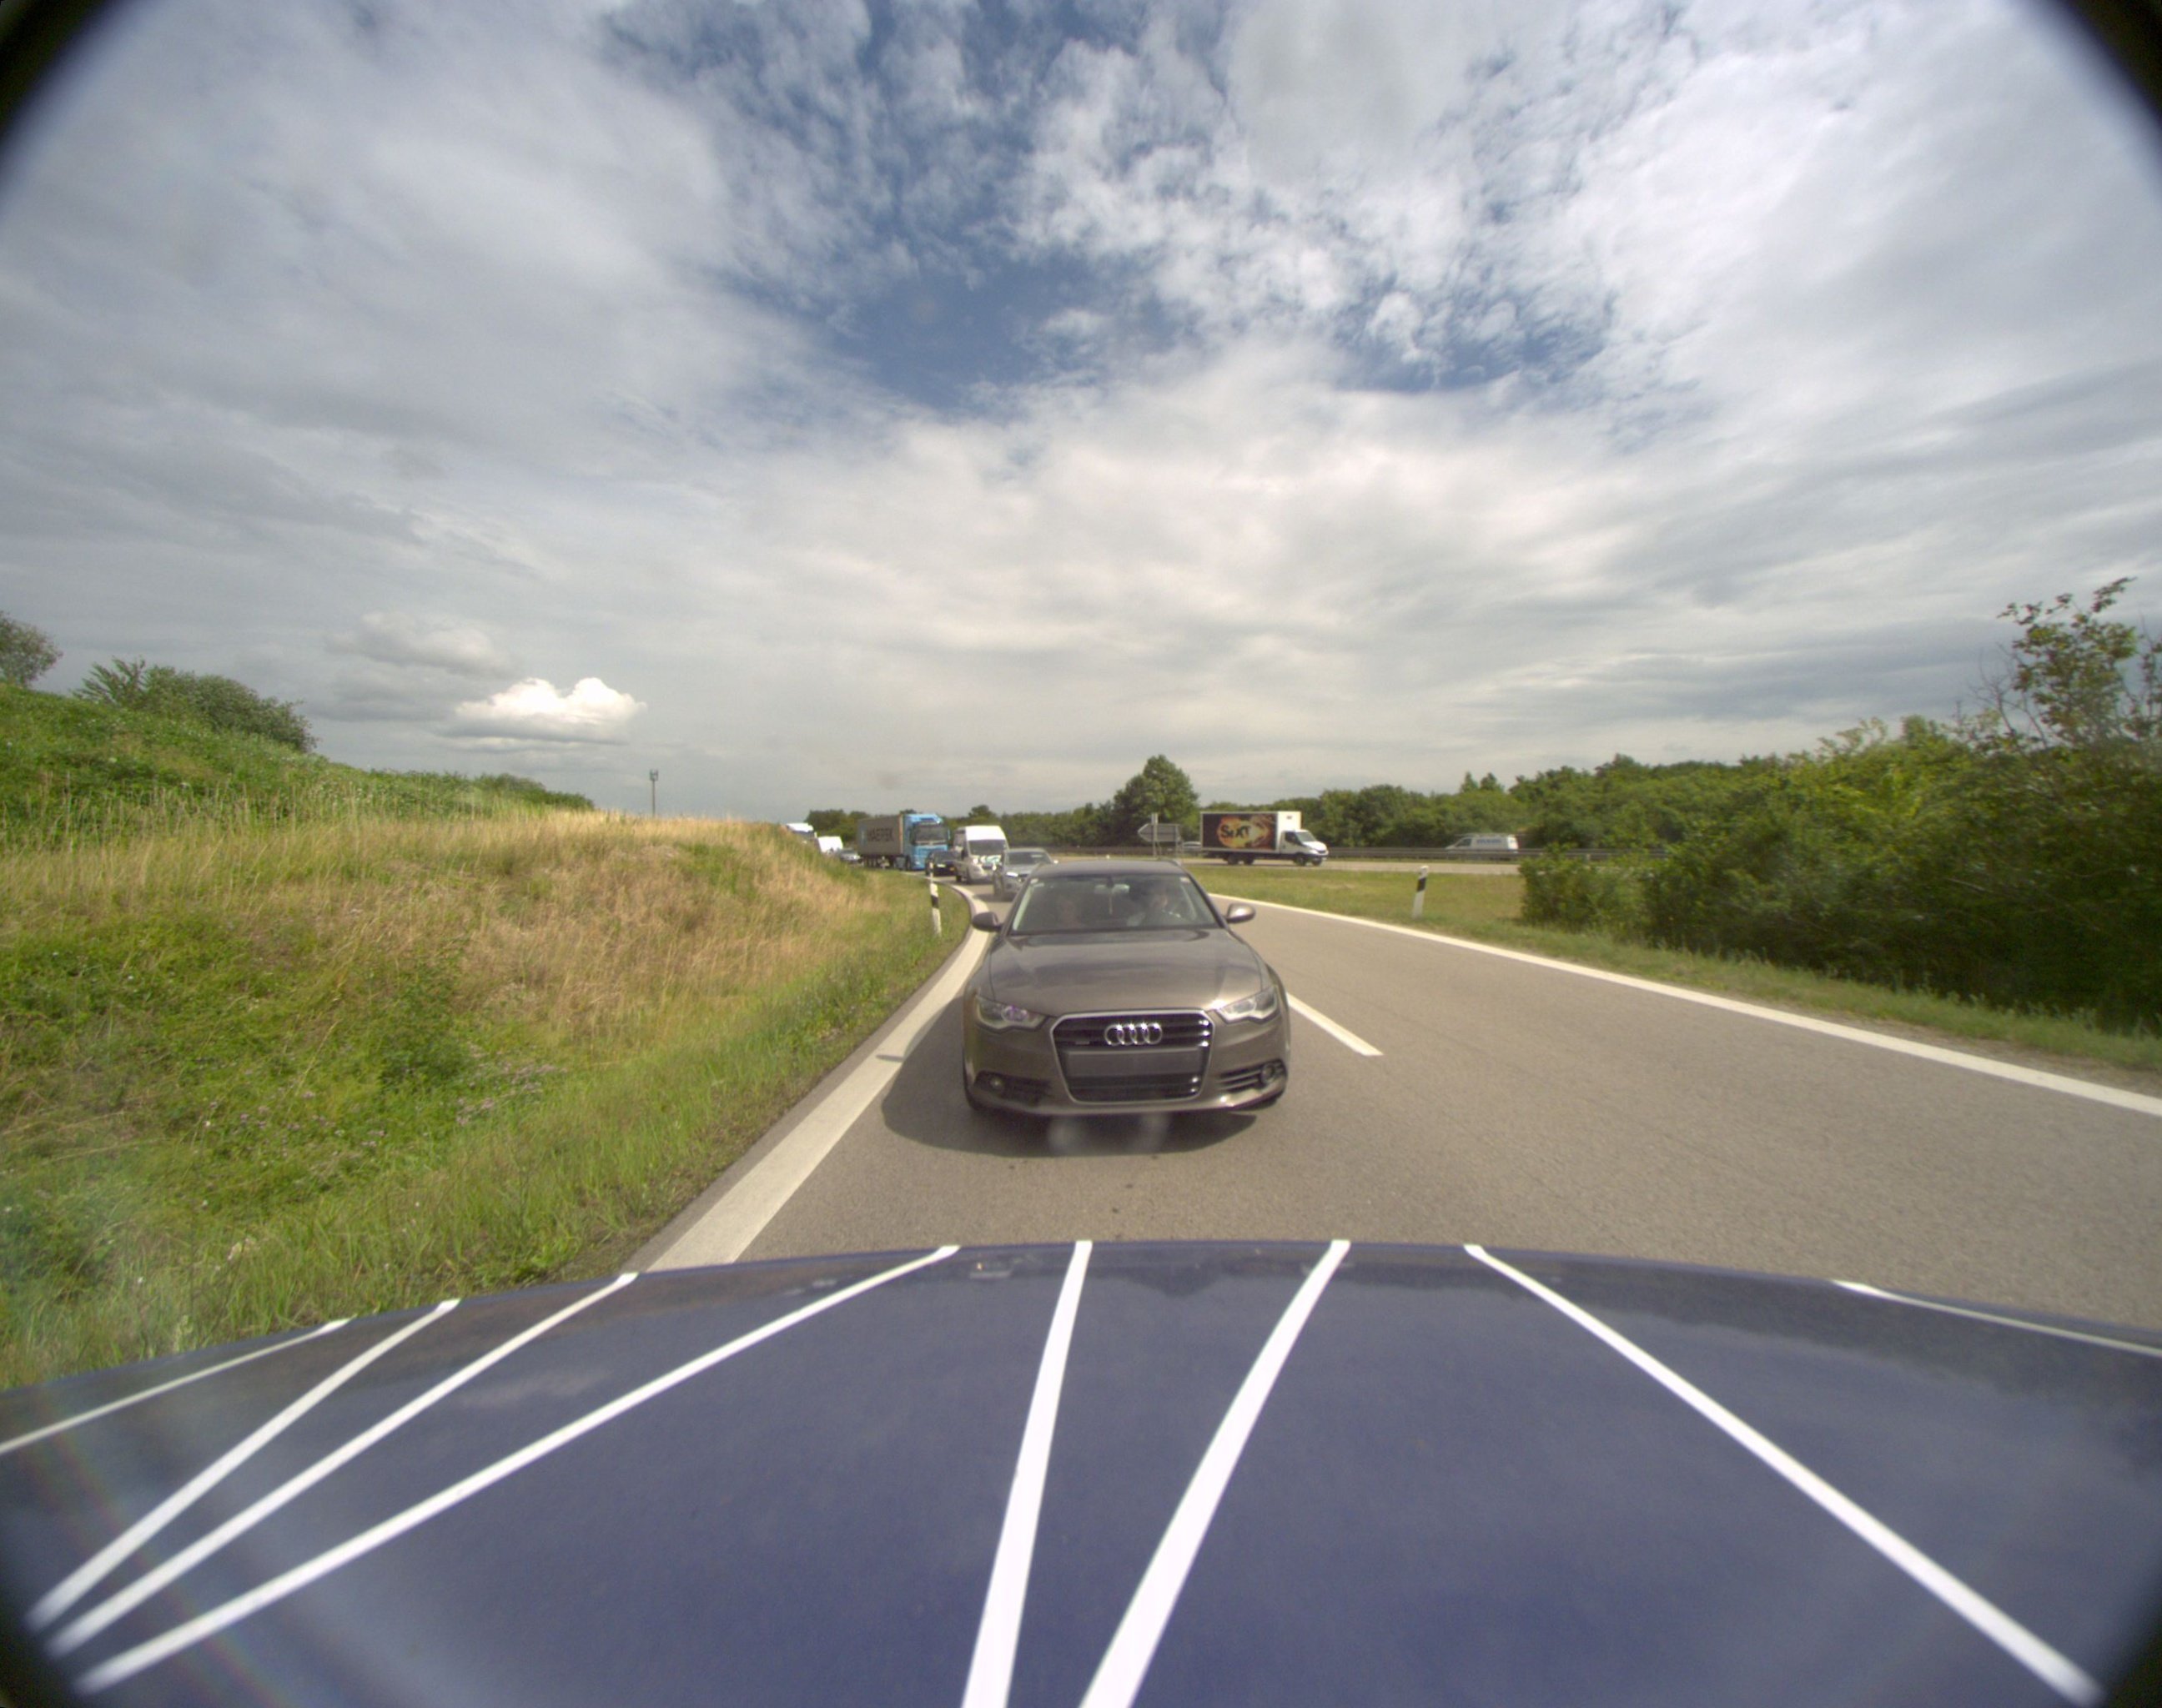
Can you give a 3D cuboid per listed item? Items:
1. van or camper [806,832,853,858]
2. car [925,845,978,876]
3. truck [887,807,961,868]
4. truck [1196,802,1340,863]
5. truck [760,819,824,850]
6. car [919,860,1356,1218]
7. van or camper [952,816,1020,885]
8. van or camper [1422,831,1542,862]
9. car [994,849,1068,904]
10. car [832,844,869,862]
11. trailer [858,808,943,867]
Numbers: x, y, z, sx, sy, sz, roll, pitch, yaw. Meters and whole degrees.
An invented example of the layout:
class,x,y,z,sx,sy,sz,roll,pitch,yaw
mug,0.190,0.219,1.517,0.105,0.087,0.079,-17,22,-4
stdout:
class,x,y,z,sx,sy,sz,roll,pitch,yaw
van or camper,-24.813,-0.941,74.923,2.558,2.200,5.692,-4,6,-38
car,-7.652,0.338,44.567,2.003,1.609,3.990,-2,2,-26
truck,-11.288,-1.141,54.263,3.184,4.050,6.631,-3,2,-29
truck,11.844,-1.356,49.045,2.898,3.567,8.920,-4,3,-41
truck,-33.012,-2.156,86.452,3.131,3.221,11.128,-3,2,-41
car,0.273,0.889,5.825,1.998,1.506,4.537,-2,1,0
van or camper,-4.584,-0.191,35.830,2.400,2.892,5.713,-3,1,-14
van or camper,28.825,-0.575,54.946,2.234,2.117,7.316,-1,2,-45
car,-1.717,0.656,24.787,1.844,1.587,4.168,-1,1,-12
car,-21.236,-0.140,69.953,2.003,1.522,3.988,-3,3,-36
trailer,-14.527,-1.228,60.135,3.280,4.138,11.989,-3,1,-29
